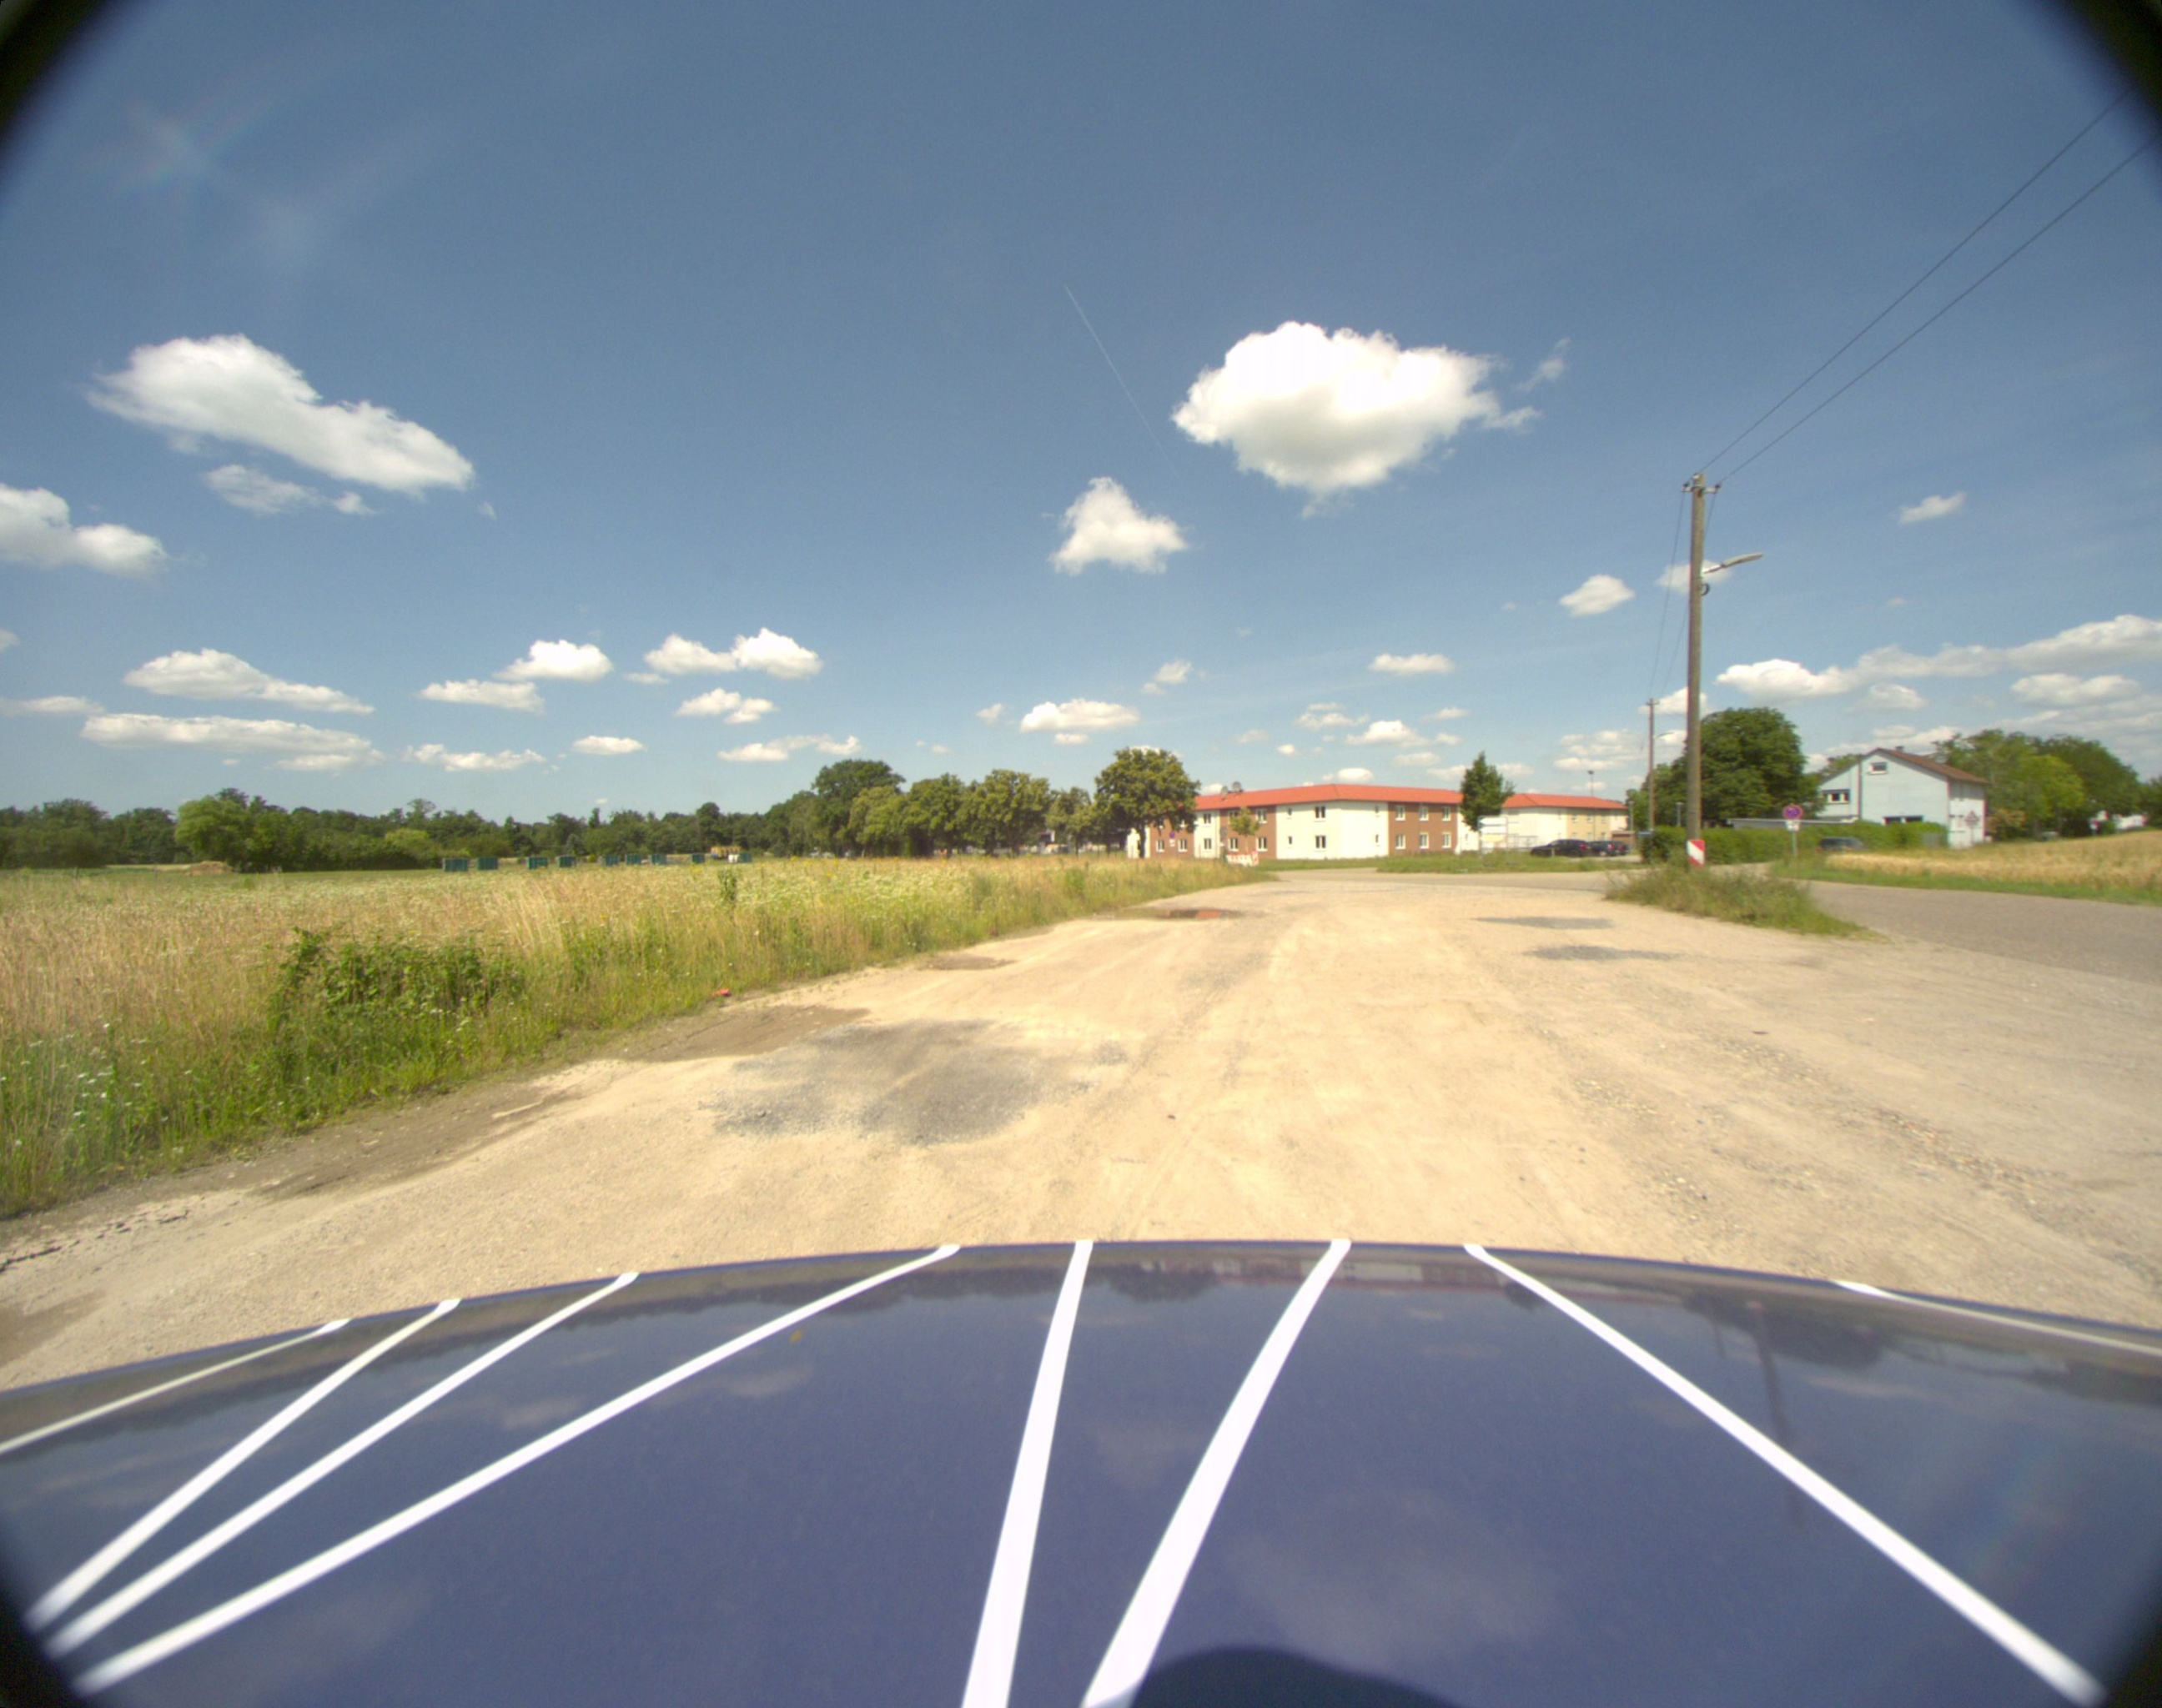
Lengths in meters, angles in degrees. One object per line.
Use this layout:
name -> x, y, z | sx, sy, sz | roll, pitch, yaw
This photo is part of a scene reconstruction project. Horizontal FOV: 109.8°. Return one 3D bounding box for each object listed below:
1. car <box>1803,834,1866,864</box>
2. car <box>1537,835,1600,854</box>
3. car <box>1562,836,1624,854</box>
car -> 45.654, -0.304, 46.015 | 4.261, 1.669, 1.745 | -3, 1, -31
car -> 42.082, -0.842, 65.712 | 2.003, 1.605, 4.137 | -1, 1, -34
car -> 45.525, -0.799, 67.657 | 2.003, 1.605, 4.137 | -1, 1, -34
